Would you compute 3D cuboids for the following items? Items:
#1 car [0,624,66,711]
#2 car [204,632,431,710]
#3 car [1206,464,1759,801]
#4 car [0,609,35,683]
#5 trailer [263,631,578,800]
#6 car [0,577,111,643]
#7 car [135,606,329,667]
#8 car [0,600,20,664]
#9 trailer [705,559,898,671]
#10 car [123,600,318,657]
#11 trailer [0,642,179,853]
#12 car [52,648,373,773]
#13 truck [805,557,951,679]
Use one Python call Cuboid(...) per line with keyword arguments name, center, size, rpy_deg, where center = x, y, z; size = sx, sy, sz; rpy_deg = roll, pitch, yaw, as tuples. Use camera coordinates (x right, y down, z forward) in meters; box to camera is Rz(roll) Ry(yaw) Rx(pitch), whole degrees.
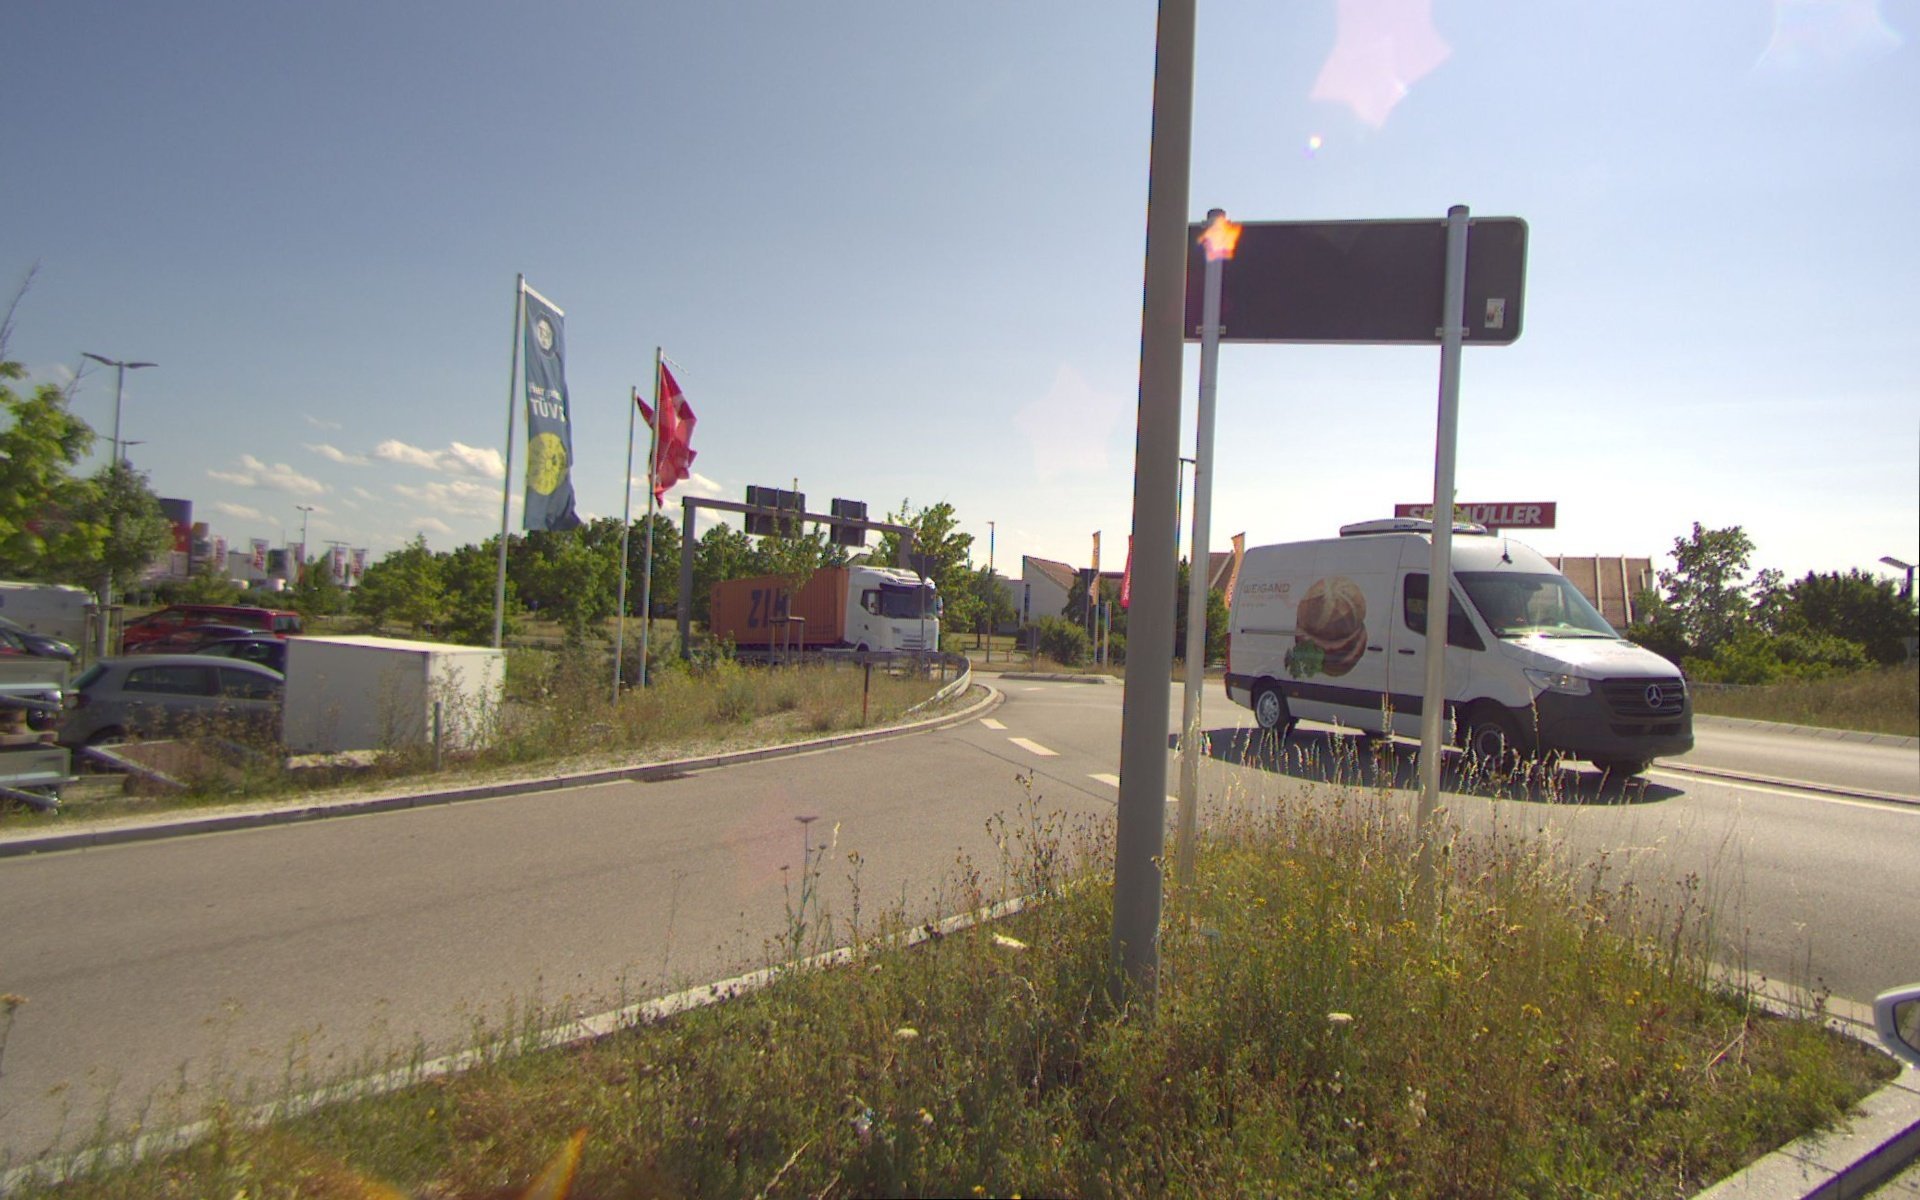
Cuboid(name="car", center=(-17.930, 1.128, 17.110), size=(3.971, 1.483, 1.803), rpy_deg=(3, -3, -42))
Cuboid(name="car", center=(-14.834, 1.637, 23.396), size=(3.926, 1.483, 1.824), rpy_deg=(4, -2, -6))
Cuboid(name="car", center=(5.568, 0.302, 12.064), size=(2.052, 2.960, 6.113), rpy_deg=(2, 0, -18))
Cuboid(name="car", center=(-22.032, 0.917, 20.821), size=(3.963, 1.483, 1.806), rpy_deg=(3, 0, -37))
Cuboid(name="trailer", center=(-7.476, 1.484, 13.986), size=(3.624, 1.795, 1.808), rpy_deg=(4, 1, 19))
Cuboid(name="car", center=(-30.509, 0.297, 32.701), size=(4.316, 2.040, 1.881), rpy_deg=(3, 0, -41))
Cuboid(name="car", center=(-20.179, 0.998, 27.994), size=(3.925, 1.483, 1.823), rpy_deg=(3, 0, -6))
Cuboid(name="car", center=(-25.232, 0.711, 23.878), size=(3.963, 1.483, 1.806), rpy_deg=(3, 0, -37))
Cuboid(name="trailer", center=(-7.235, 0.558, 43.421), size=(2.539, 4.208, 12.225), rpy_deg=(3, -1, -38))
Cuboid(name="car", center=(-22.331, 0.839, 30.468), size=(4.372, 1.483, 1.823), rpy_deg=(3, 0, -6))
Cuboid(name="trailer", center=(-10.561, 1.433, 10.684), size=(3.623, 1.795, 1.808), rpy_deg=(2, 0, 19))
Cuboid(name="car", center=(-11.244, 1.581, 15.307), size=(3.713, 1.572, 1.724), rpy_deg=(3, 0, -40))
Cuboid(name="truck", center=(-3.230, 0.629, 37.766), size=(2.635, 4.161, 6.374), rpy_deg=(2, -1, -33))
